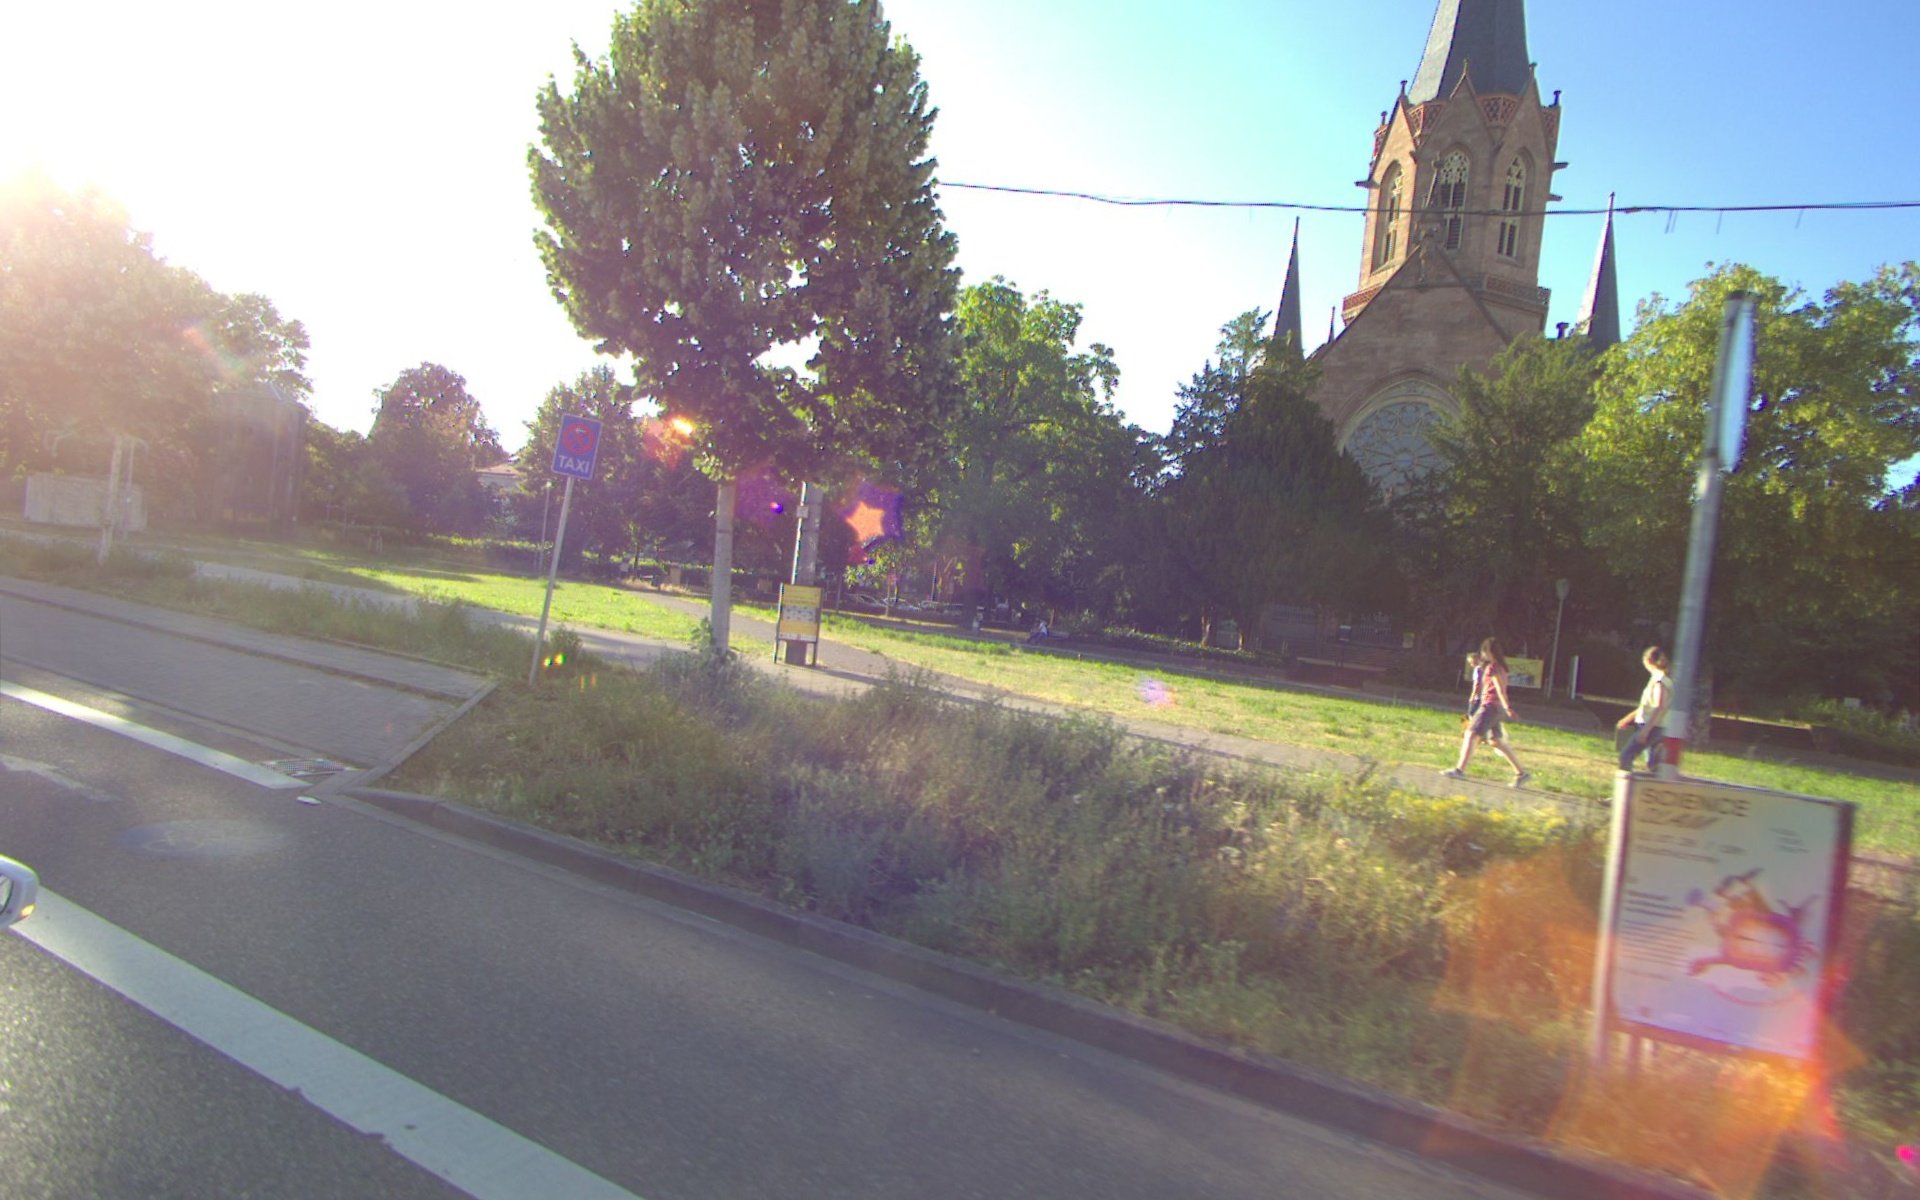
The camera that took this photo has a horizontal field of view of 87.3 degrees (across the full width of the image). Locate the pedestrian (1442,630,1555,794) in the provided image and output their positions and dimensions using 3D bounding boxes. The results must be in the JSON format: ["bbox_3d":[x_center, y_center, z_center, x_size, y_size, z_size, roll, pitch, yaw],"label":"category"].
[{"bbox_3d":[6.110,1.234,11.411,0.900,1.673,0.738,8,4,32],"label":"pedestrian"}]

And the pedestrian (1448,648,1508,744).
[{"bbox_3d":[10.137,1.868,19.691,0.588,1.761,0.639,6,1,-24],"label":"pedestrian"}]

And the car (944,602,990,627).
[{"bbox_3d":[0.574,1.157,77.841,1.571,1.528,4.150,7,-1,32],"label":"car"}]

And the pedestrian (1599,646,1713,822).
[{"bbox_3d":[7.370,1.387,10.698,0.769,1.711,0.597,8,3,32],"label":"pedestrian"}]

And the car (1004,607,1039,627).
[{"bbox_3d":[5.713,1.600,92.738,1.538,1.466,3.500,7,-1,33],"label":"car"}]

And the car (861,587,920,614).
[{"bbox_3d":[-5.450,0.049,78.539,4.084,1.639,1.869,7,1,26],"label":"car"}]

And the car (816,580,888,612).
[{"bbox_3d":[-7.705,-0.276,71.727,4.552,1.740,1.999,7,1,21],"label":"car"}]

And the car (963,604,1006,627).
[{"bbox_3d":[2.072,1.317,83.666,1.602,1.528,4.149,7,0,32],"label":"car"}]
